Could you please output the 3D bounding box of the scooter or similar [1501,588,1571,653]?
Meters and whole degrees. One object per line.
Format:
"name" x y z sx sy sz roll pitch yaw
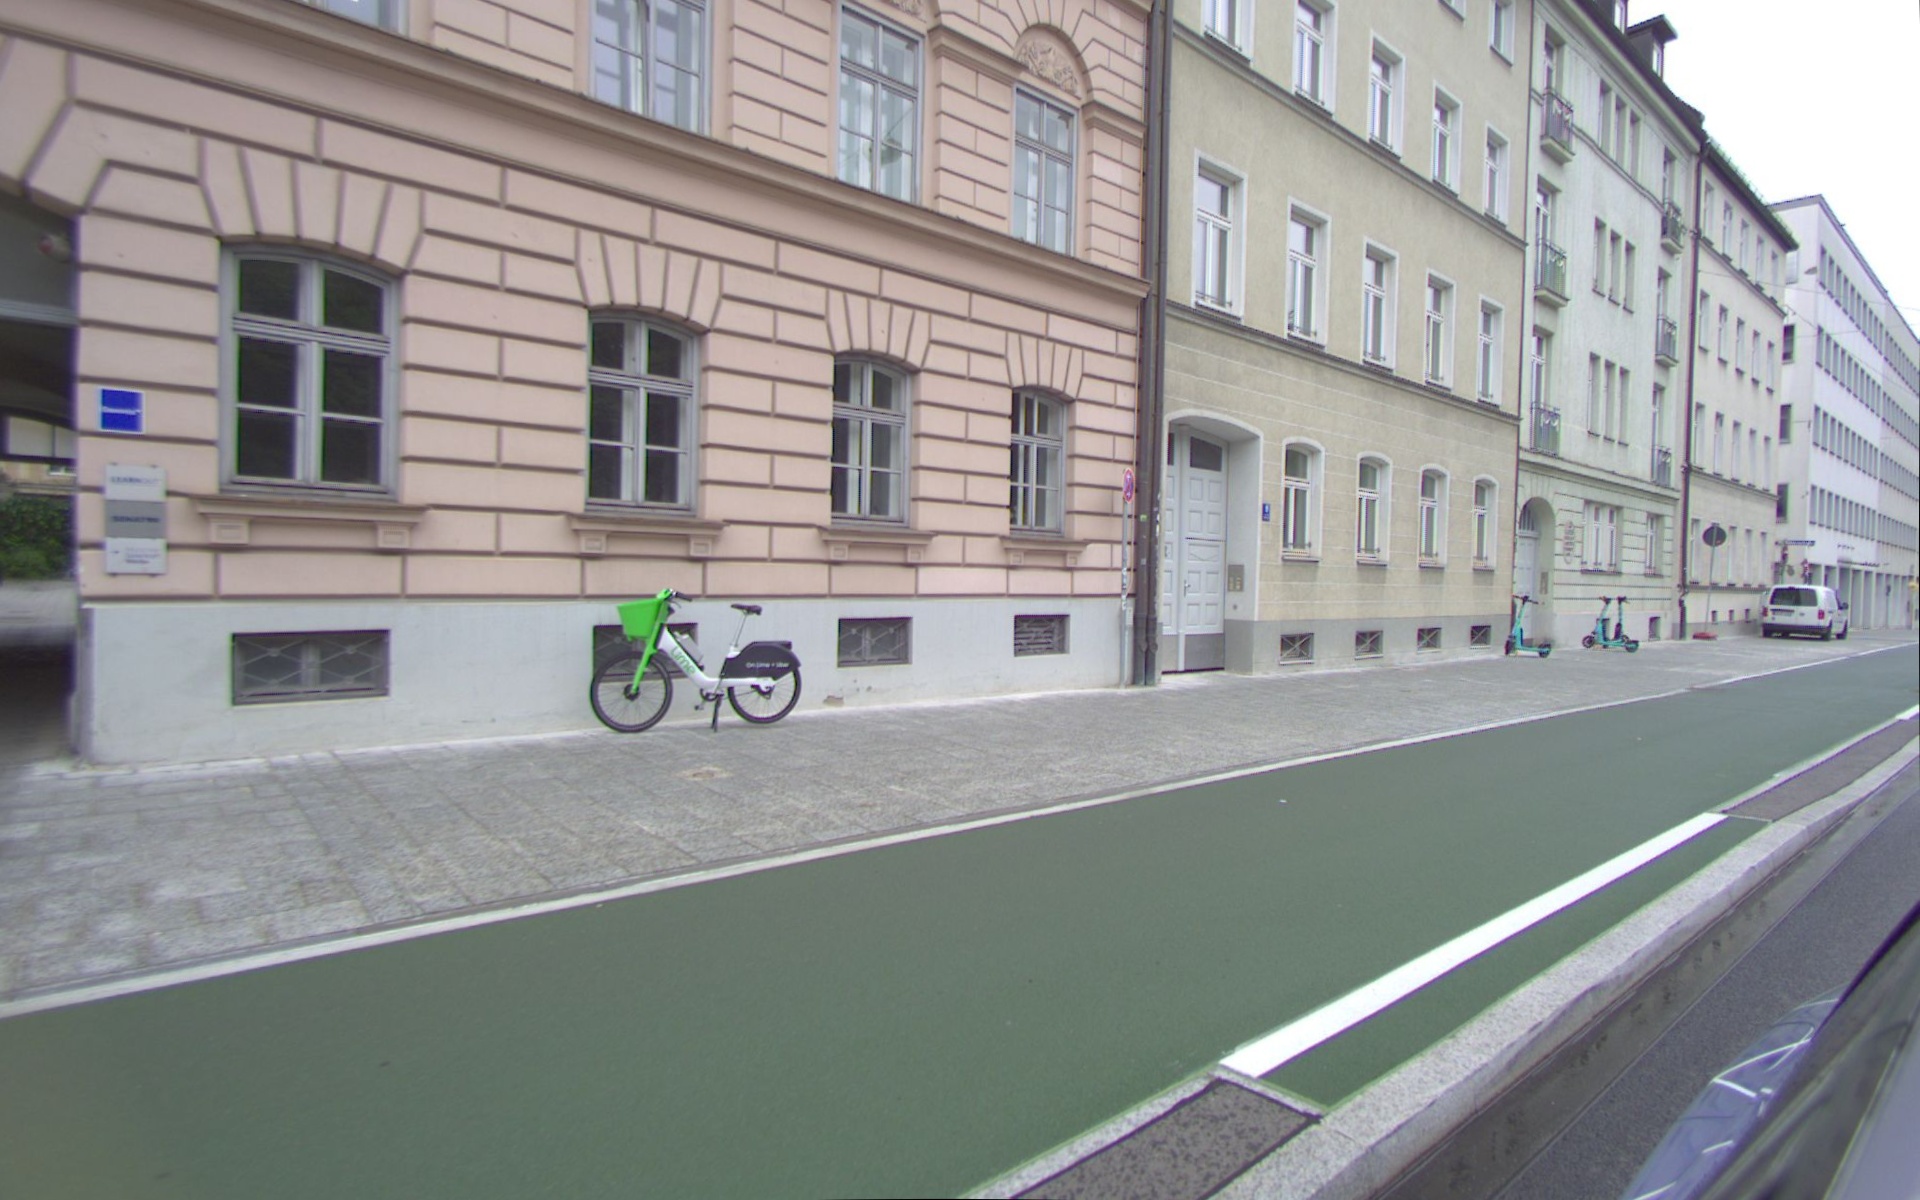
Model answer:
"scooter or similar" 11.605 0.402 20.396 1.055 1.260 0.554 1 1 -6

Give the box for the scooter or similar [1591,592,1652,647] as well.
"scooter or similar" 15.262 0.447 23.370 1.064 1.207 0.451 2 1 20

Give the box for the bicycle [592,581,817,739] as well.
"bicycle" -2.078 0.459 8.281 1.690 1.191 0.558 1 1 -26

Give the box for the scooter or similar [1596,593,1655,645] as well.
"scooter or similar" 16.074 0.451 24.441 1.059 1.207 0.436 2 1 10

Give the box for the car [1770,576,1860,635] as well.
"car" 28.923 0.157 34.195 3.931 1.855 1.765 0 2 -41
